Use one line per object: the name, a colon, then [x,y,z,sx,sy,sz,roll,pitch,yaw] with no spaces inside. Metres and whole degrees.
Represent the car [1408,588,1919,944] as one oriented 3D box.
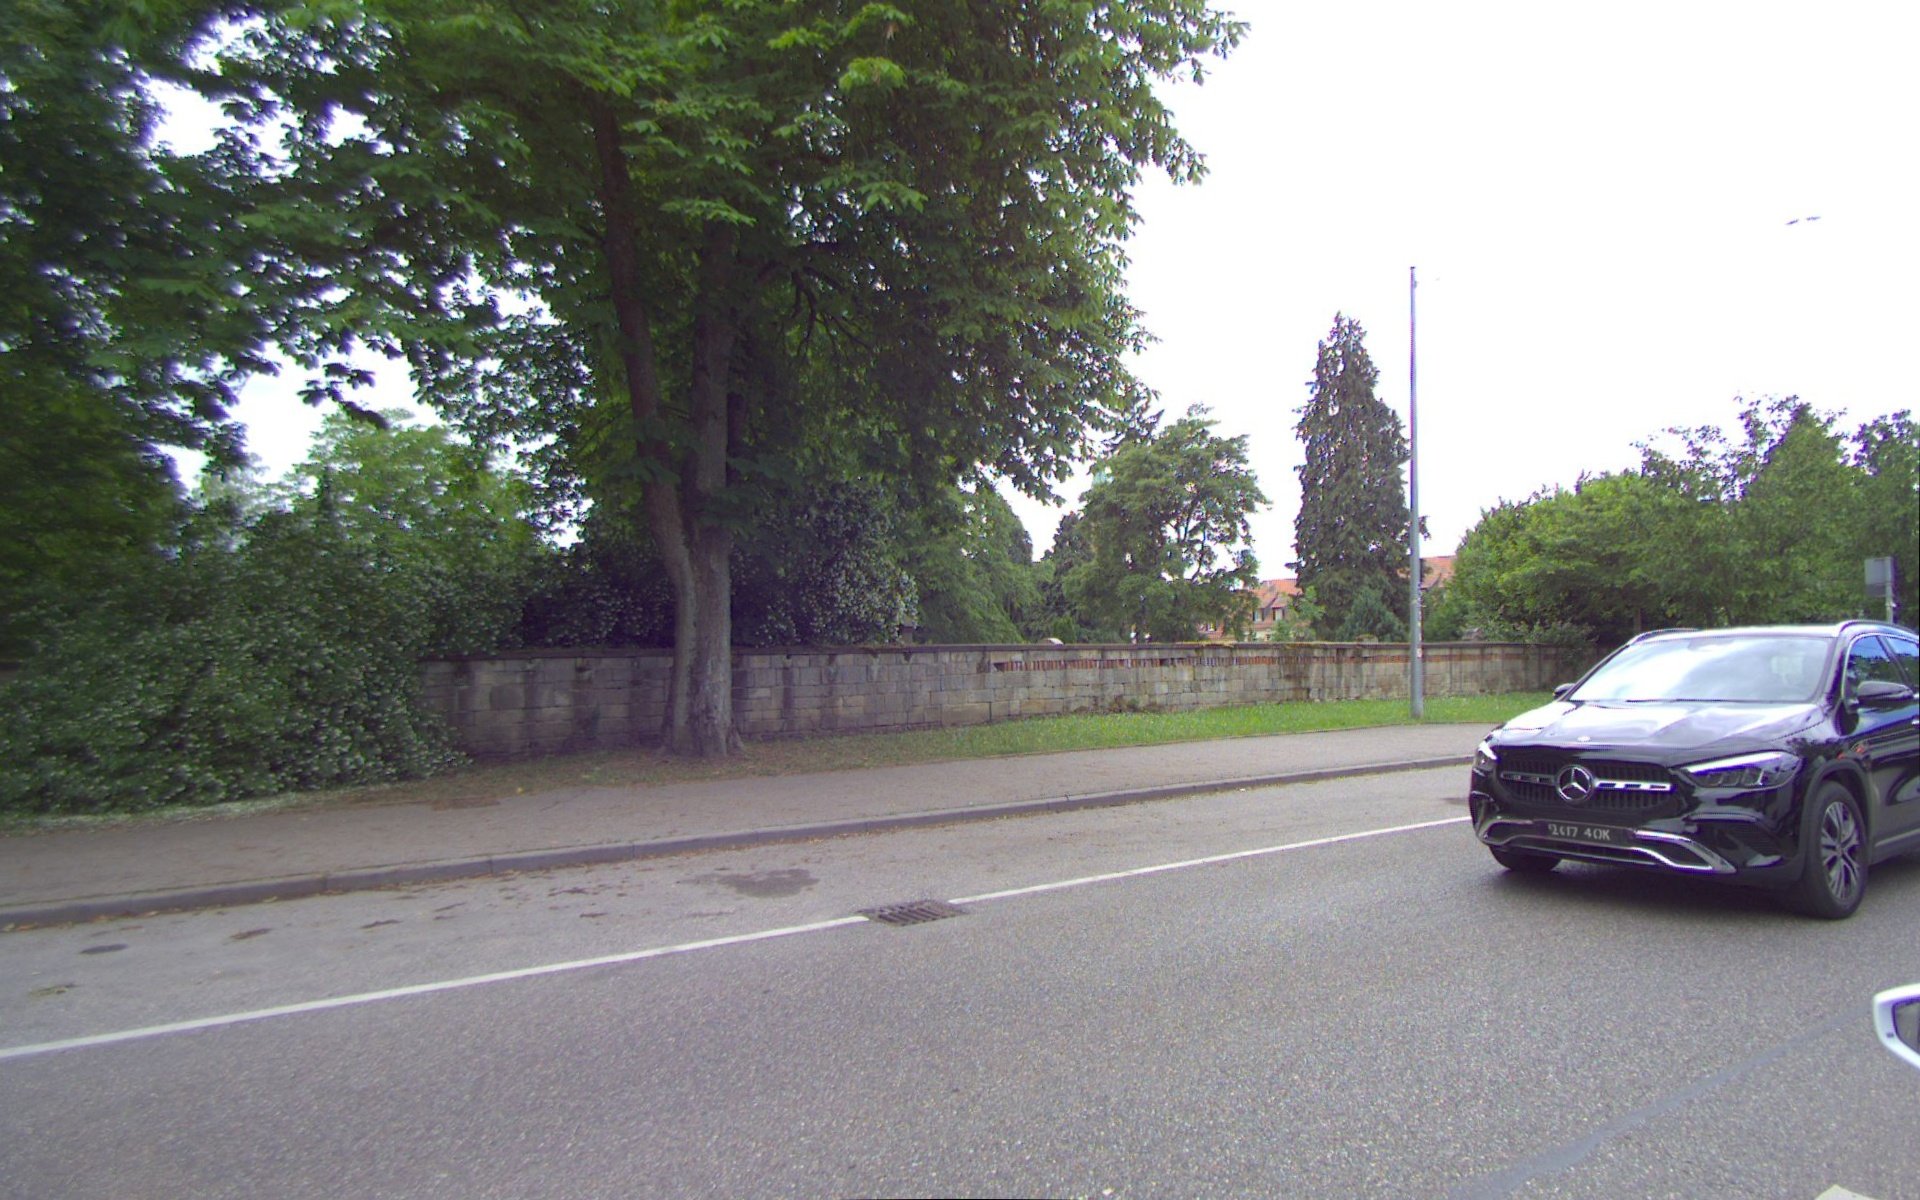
car: [5.171,0.898,6.658,4.255,1.678,1.851,1,-5,-30]
